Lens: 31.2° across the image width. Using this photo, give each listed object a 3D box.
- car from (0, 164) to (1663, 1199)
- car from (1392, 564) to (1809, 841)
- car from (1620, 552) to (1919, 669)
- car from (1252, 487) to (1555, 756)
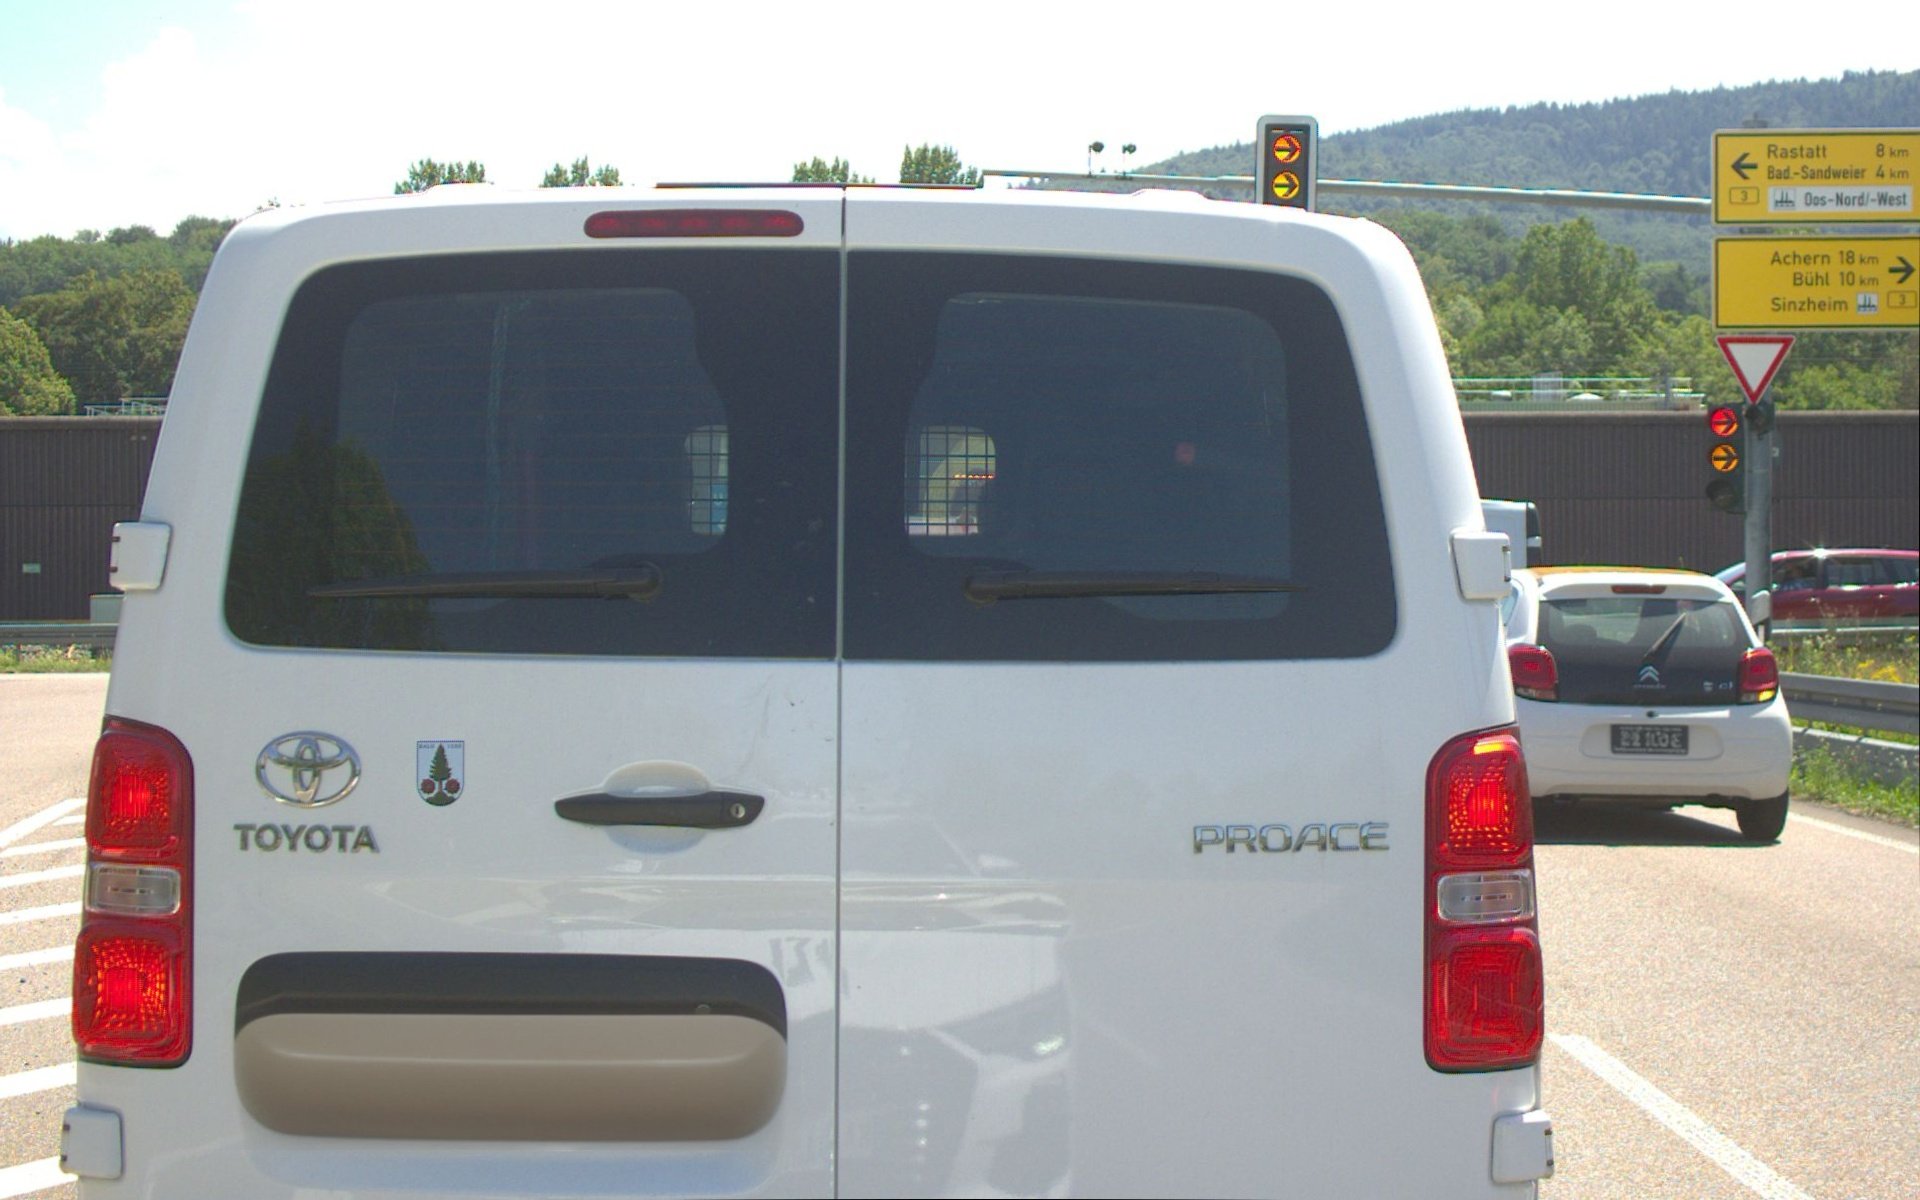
[{"bbox_3d":[-0.218,0.451,5.787,1.886,1.880,4.000,1,1,-1],"label":"car"},{"bbox_3d":[3.557,0.521,19.635,1.656,1.426,3.366,1,1,-1],"label":"car"},{"bbox_3d":[11.953,0.142,49.836,4.309,1.651,2.000,0,1,-3],"label":"car"},{"bbox_3d":[3.532,0.138,28.212,1.928,1.993,4.837,1,1,1],"label":"car"}]
